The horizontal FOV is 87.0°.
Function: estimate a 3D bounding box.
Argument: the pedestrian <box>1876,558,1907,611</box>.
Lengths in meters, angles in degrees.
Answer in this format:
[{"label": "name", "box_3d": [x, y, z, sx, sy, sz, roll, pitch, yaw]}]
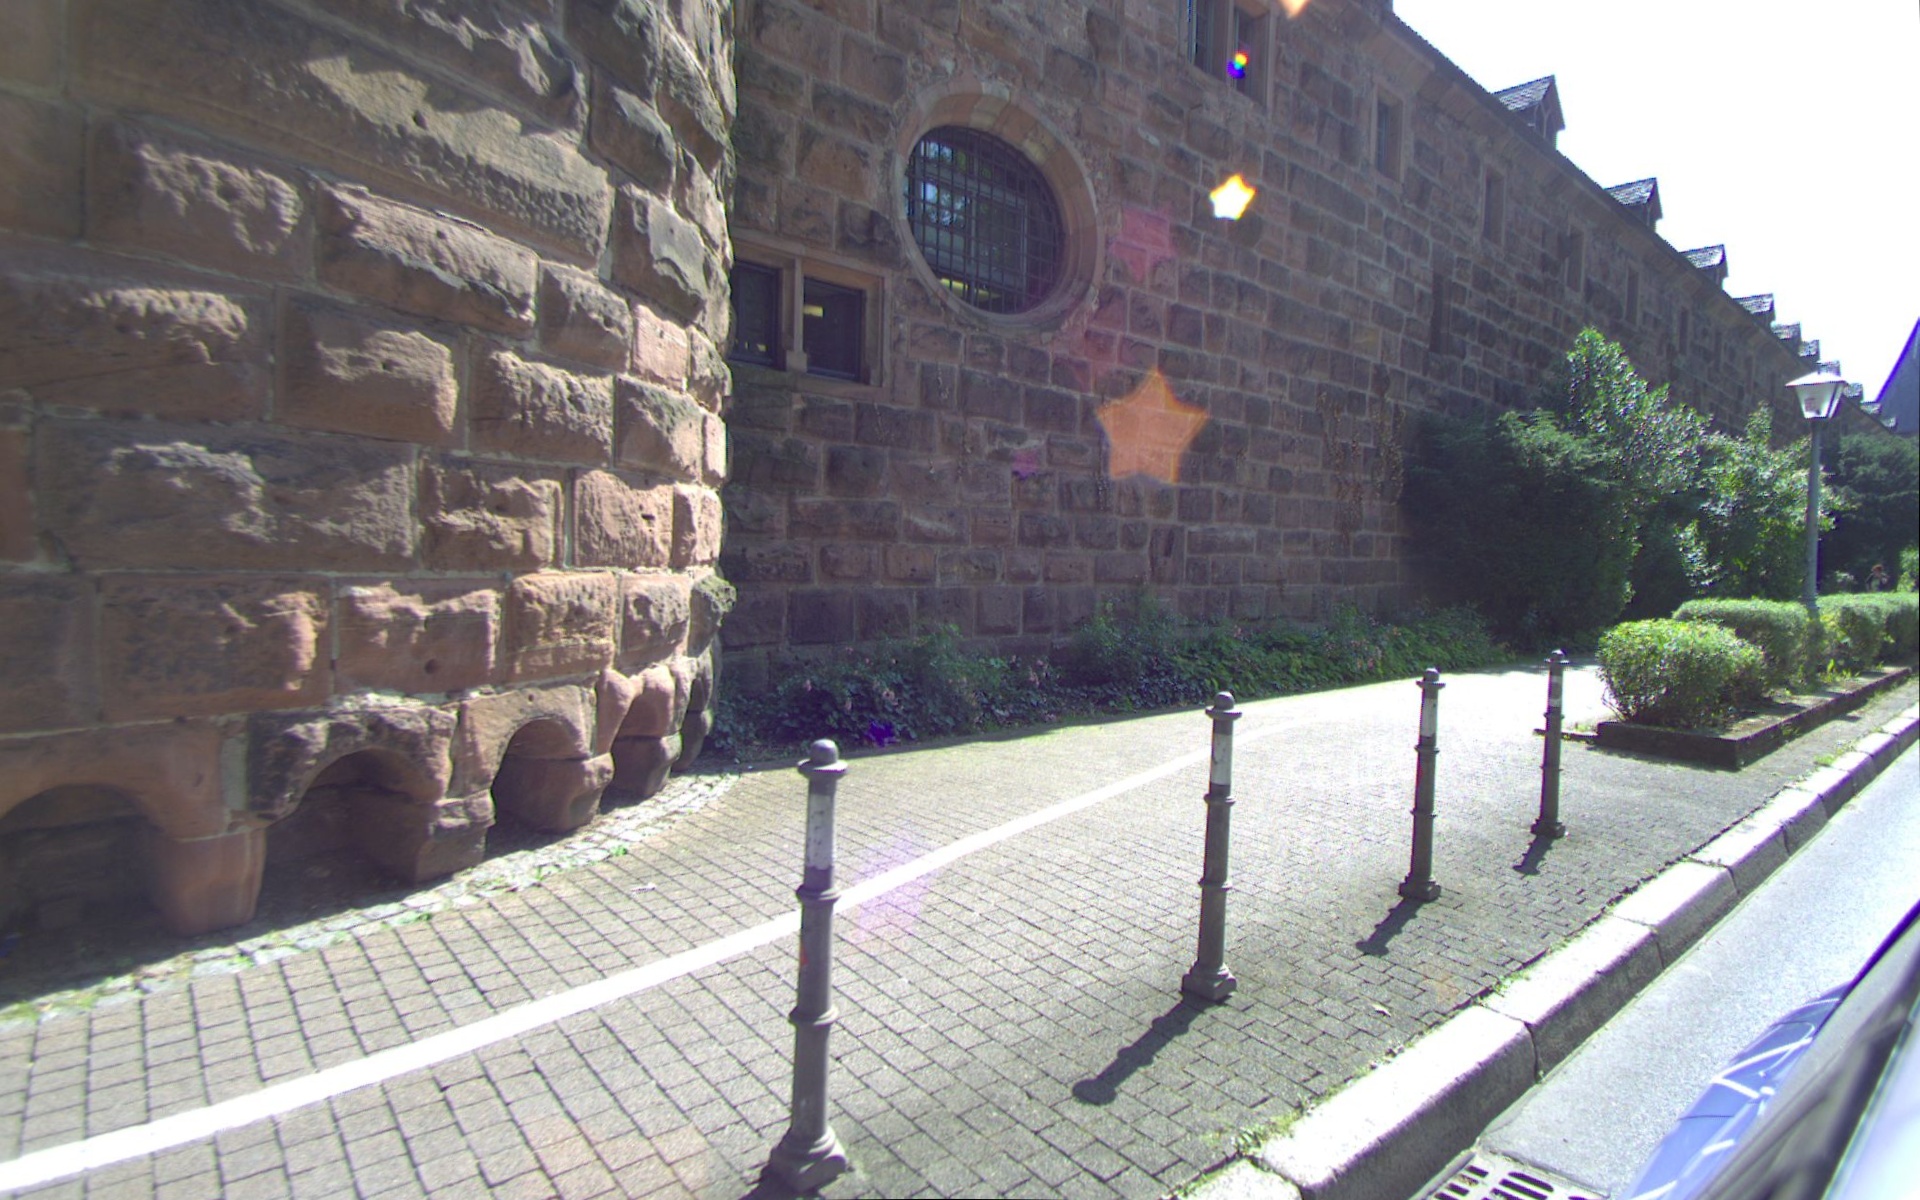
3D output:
[{"label": "pedestrian", "box_3d": [28.250, -0.482, 30.696, 0.554, 1.583, 0.642, -1, 1, -40]}]
